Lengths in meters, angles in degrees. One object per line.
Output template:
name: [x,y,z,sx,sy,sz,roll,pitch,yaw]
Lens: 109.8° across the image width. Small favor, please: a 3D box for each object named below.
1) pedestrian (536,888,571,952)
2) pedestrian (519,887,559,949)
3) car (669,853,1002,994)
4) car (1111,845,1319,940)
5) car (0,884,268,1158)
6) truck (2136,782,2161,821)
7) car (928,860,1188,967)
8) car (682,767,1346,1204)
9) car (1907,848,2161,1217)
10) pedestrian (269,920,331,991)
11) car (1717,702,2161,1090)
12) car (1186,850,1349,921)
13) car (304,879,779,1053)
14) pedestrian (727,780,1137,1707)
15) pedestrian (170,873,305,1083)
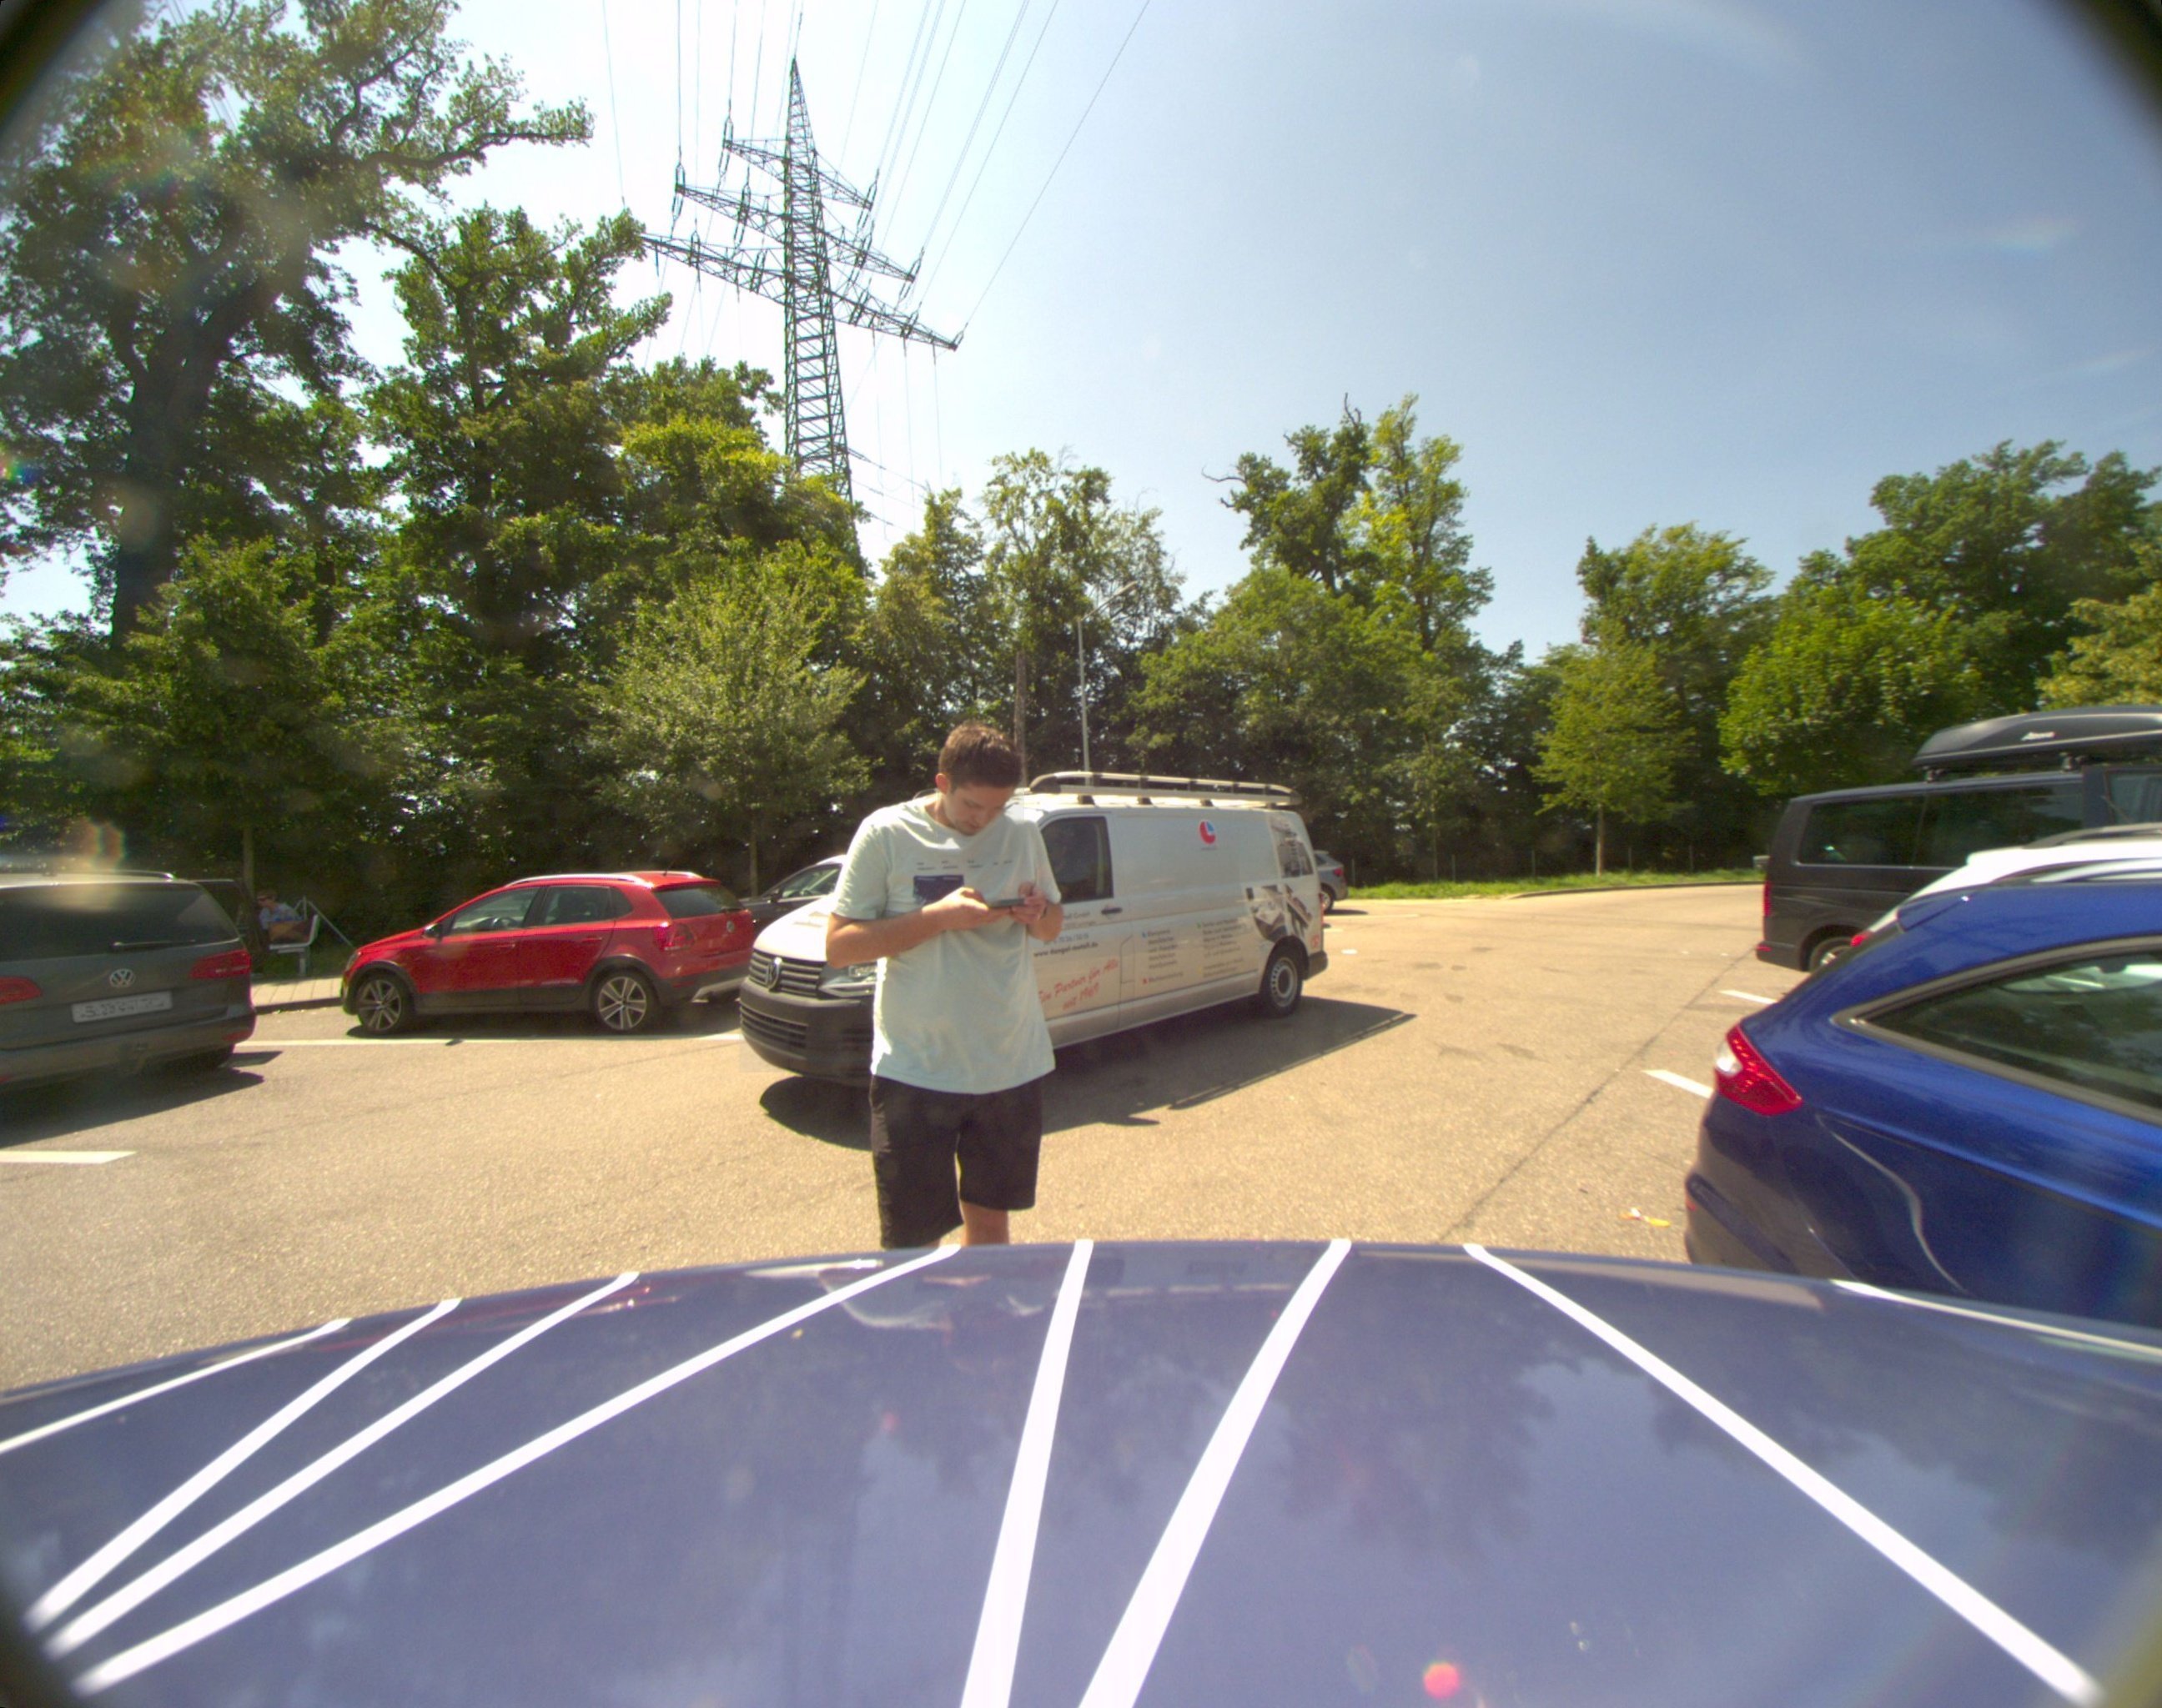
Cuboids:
pedestrian: [-10.115,1.262,14.583,0.366,1.186,0.356,-2,1,21]
pedestrian: [-10.958,1.287,15.356,0.413,1.186,0.443,-2,1,12]
car: [-3.115,0.864,10.229,3.866,1.607,1.709,-2,0,0]
car: [2.584,0.729,15.233,3.850,1.678,1.755,-2,0,4]
car: [-8.443,1.113,5.433,3.903,1.607,1.705,-2,1,11]
truck: [40.187,-1.962,27.033,1.168,1.367,2.882,-2,-1,-19]
car: [-0.290,0.889,12.031,3.773,1.445,1.848,-2,0,4]
car: [0.016,0.595,6.200,5.445,2.092,1.839,-2,1,-45]
car: [4.695,0.658,2.138,1.344,1.352,3.114,-2,0,1]
pedestrian: [-10.769,1.383,10.492,0.503,0.874,0.512,-3,1,-39]
car: [7.221,0.235,5.345,1.788,2.304,4.084,-2,0,-5]
car: [4.339,0.732,18.131,3.585,1.493,1.707,-2,1,8]
car: [-5.266,1.065,7.681,3.745,1.458,1.621,-2,0,7]
pedestrian: [-0.375,0.772,1.850,0.741,1.818,0.613,-2,0,-34]
pedestrian: [-7.347,1.042,6.634,0.481,1.712,0.589,-2,1,22]
